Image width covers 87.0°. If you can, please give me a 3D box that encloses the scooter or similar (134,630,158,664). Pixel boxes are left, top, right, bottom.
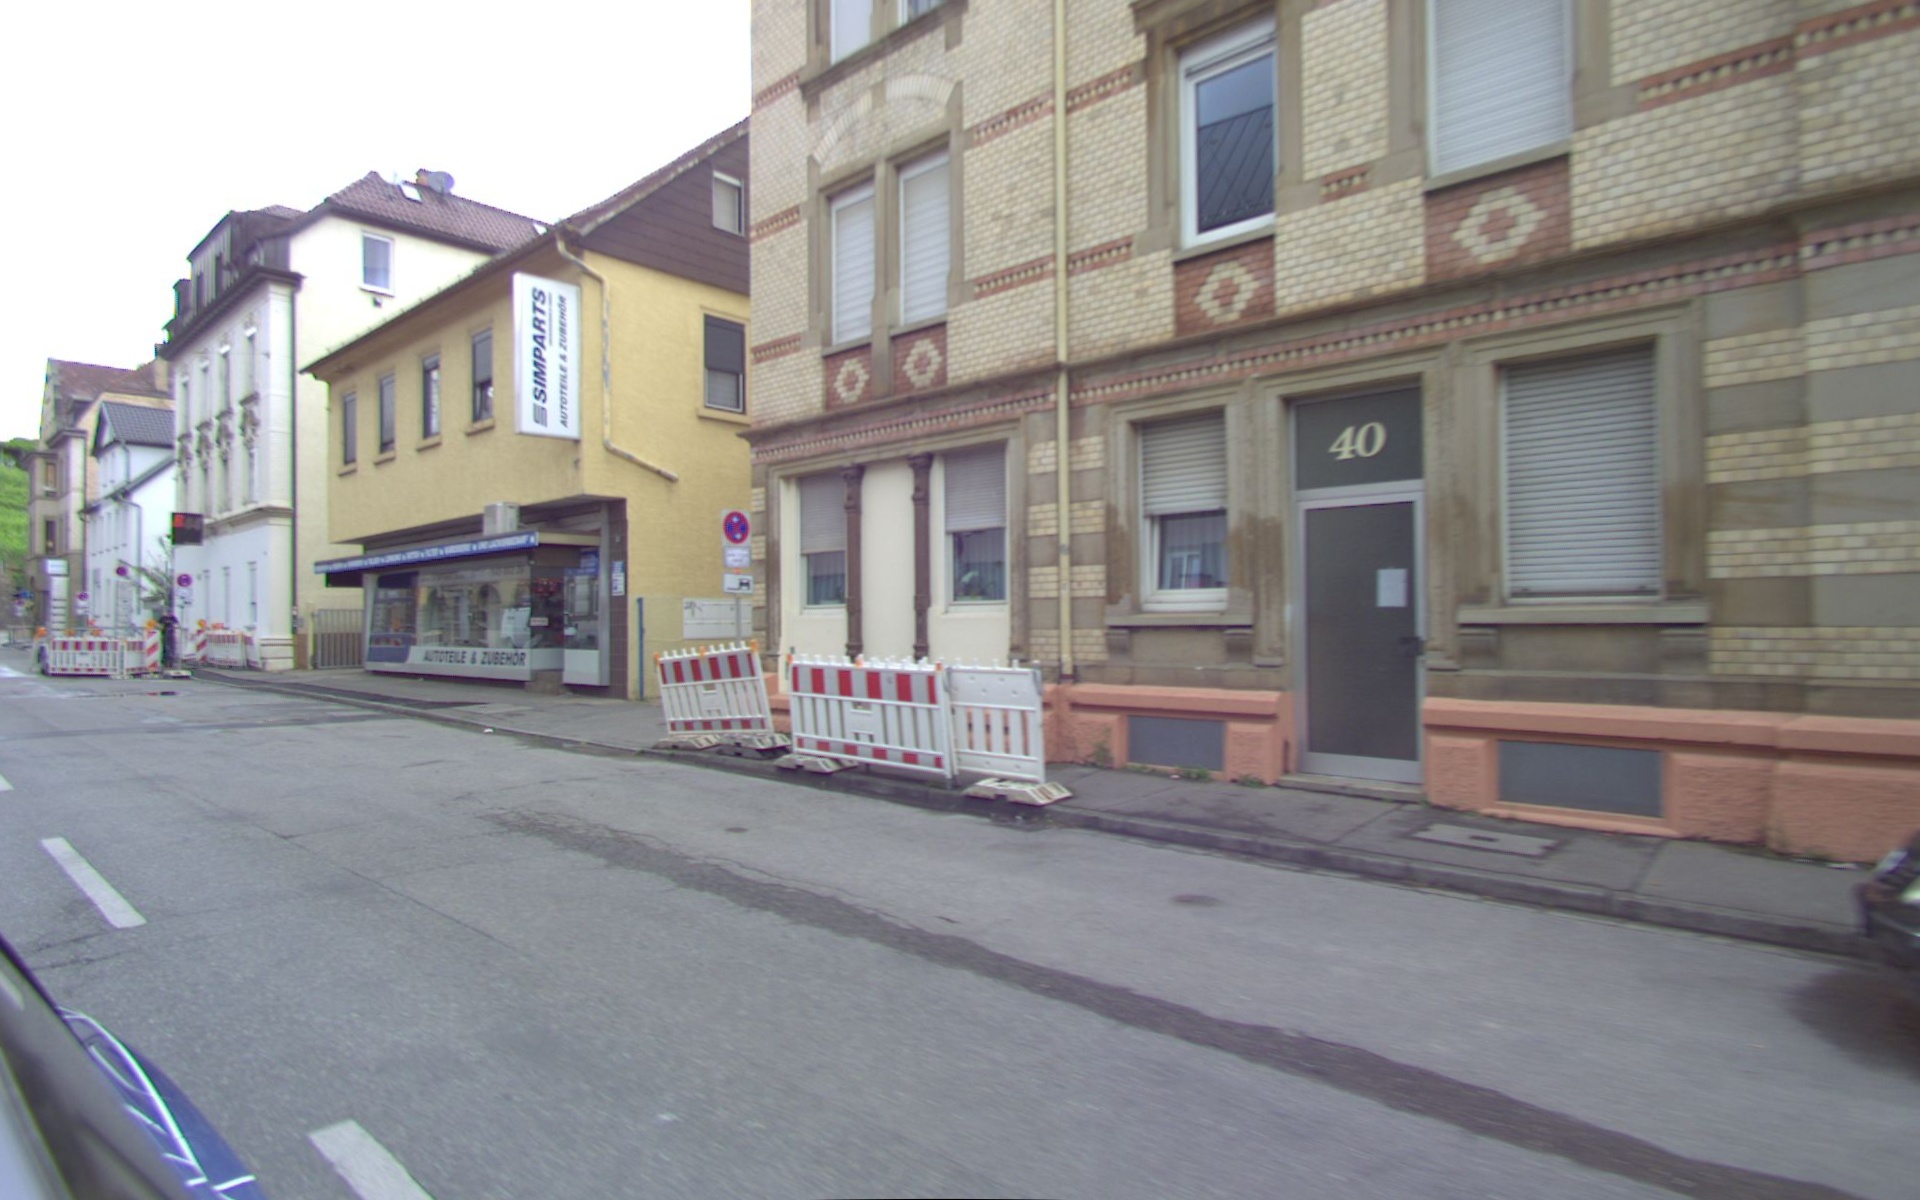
[{"bbox_3d":[-32.464,1.867,40.347,1.227,1.300,0.554,-1,0,42],"label":"scooter or similar"}]

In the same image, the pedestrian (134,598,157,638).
[{"bbox_3d":[-32.455,0.714,40.337,0.607,1.578,0.594,-1,0,41],"label":"pedestrian"}]

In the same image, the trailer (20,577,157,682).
[{"bbox_3d":[-26.040,0.869,30.138,6.304,2.825,2.418,-1,-3,44],"label":"trailer"}]
